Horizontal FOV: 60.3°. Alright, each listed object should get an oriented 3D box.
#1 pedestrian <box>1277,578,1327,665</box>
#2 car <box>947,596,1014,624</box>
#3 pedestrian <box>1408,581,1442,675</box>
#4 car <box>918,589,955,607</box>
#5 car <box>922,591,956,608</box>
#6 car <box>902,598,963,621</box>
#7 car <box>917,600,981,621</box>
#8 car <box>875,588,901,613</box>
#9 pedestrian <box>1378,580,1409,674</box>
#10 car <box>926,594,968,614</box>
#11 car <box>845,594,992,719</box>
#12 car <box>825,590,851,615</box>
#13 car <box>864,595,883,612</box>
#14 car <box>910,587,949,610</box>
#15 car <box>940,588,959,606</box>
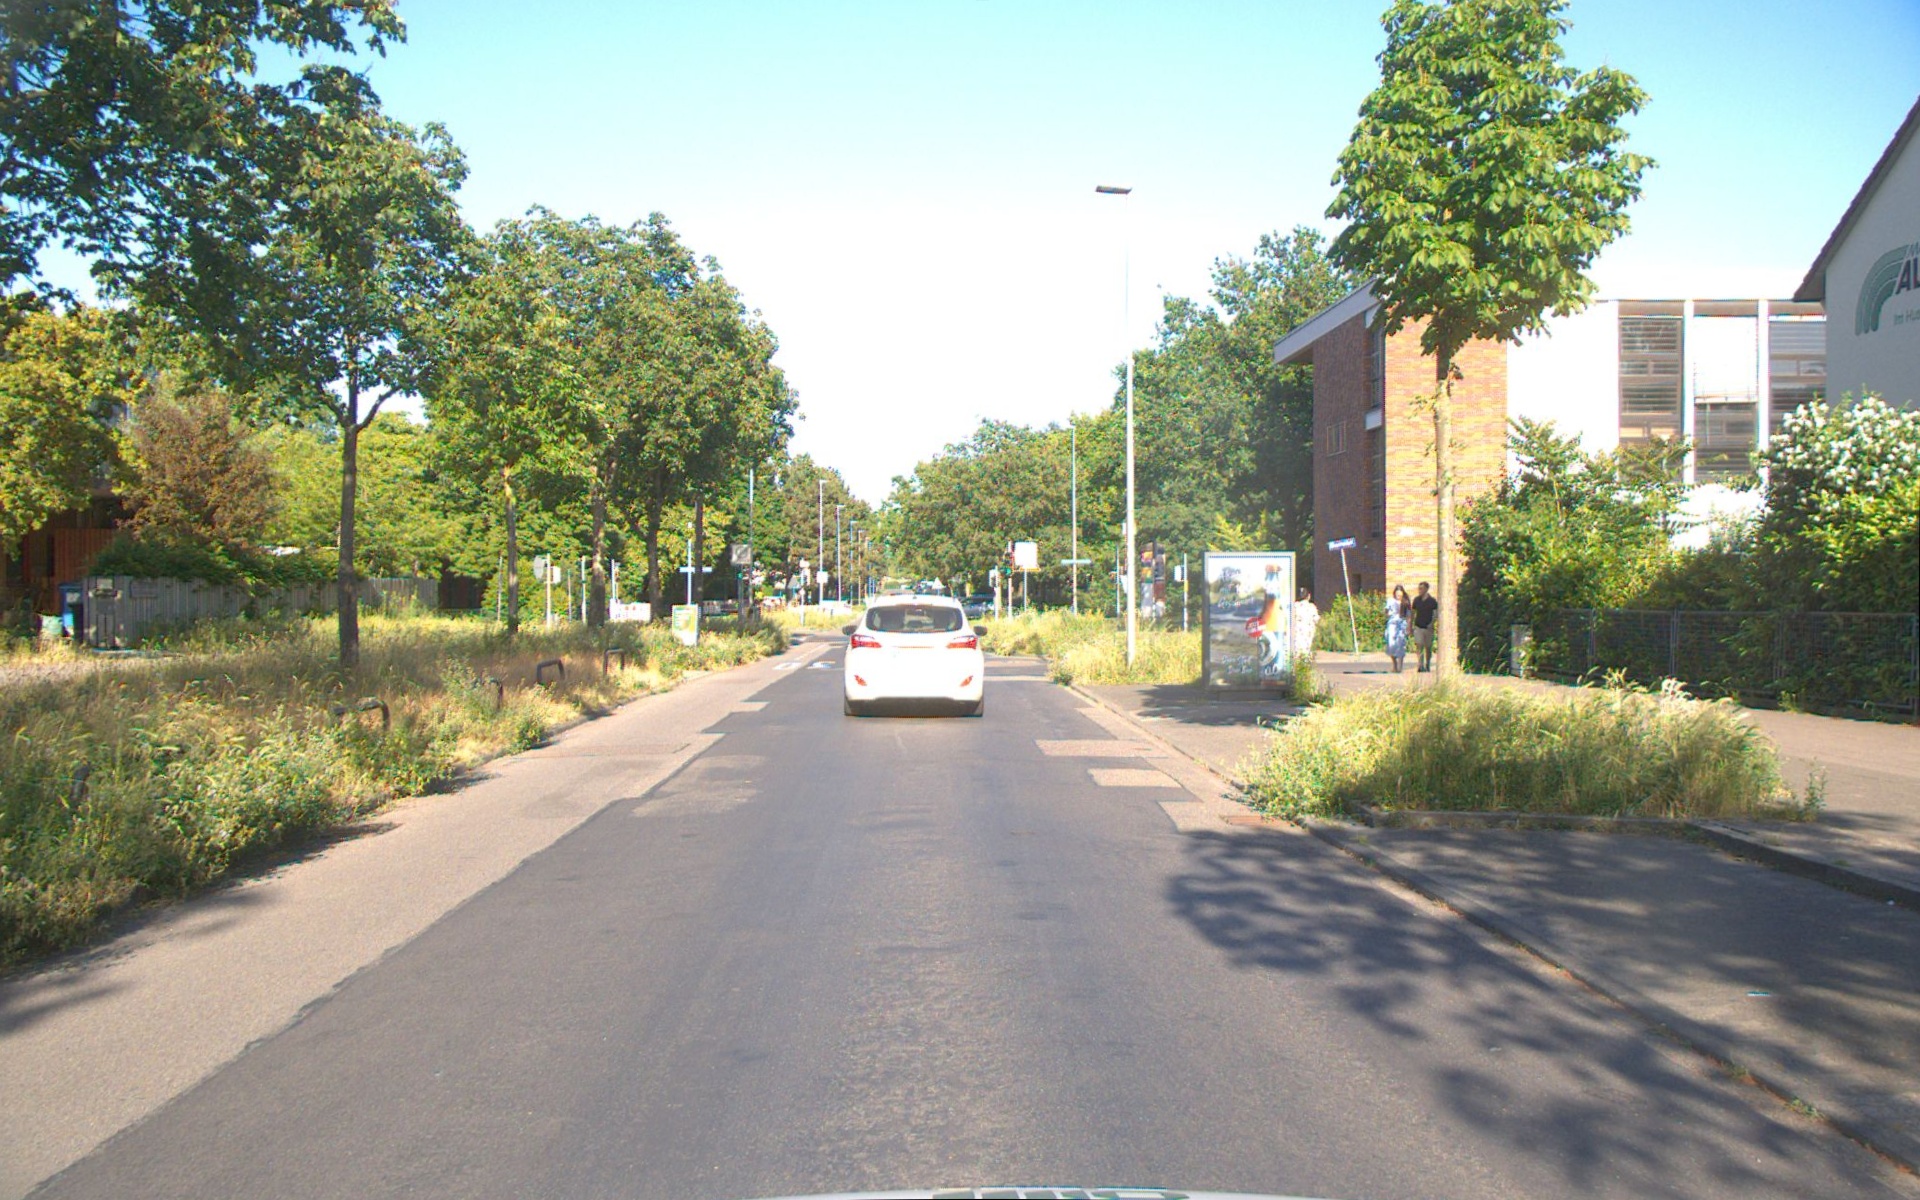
[{"bbox_3d":[7.421,0.471,35.915,0.881,1.853,0.736,1,-1,-2],"label":"pedestrian"},{"bbox_3d":[1.344,0.645,109.385,4.406,1.814,1.855,0,0,0],"label":"car"},{"bbox_3d":[8.872,0.526,31.550,0.593,1.763,0.640,1,-1,14],"label":"pedestrian"},{"bbox_3d":[-2.709,-0.213,188.609,4.215,1.941,1.862,1,-1,-2],"label":"car"},{"bbox_3d":[-2.375,-0.060,185.471,3.742,1.798,1.862,1,-1,-2],"label":"car"},{"bbox_3d":[-2.019,0.702,121.137,4.406,1.658,1.855,0,0,0],"label":"car"},{"bbox_3d":[-0.972,0.892,144.606,5.501,1.713,1.947,1,0,-2],"label":"car"},{"bbox_3d":[-5.706,0.049,131.255,1.953,1.847,3.999,2,0,-2],"label":"car"},{"bbox_3d":[8.302,0.513,31.695,0.542,1.763,0.662,1,-1,14],"label":"pedestrian"},{"bbox_3d":[-1.188,0.359,151.293,3.742,1.713,1.862,1,-1,-2],"label":"car"},{"bbox_3d":[-0.561,0.674,21.807,1.753,1.489,3.962,0,0,-2],"label":"car"},{"bbox_3d":[-9.790,0.186,132.942,1.953,1.847,3.999,1,1,-2],"label":"car"},{"bbox_3d":[-9.490,0.400,181.427,1.953,1.847,3.999,1,0,-2],"label":"car"},{"bbox_3d":[-2.966,-0.118,161.268,3.742,2.135,1.862,1,-1,-2],"label":"car"},{"bbox_3d":[-1.107,-0.311,180.521,1.953,1.847,3.998,1,0,-2],"label":"car"}]
